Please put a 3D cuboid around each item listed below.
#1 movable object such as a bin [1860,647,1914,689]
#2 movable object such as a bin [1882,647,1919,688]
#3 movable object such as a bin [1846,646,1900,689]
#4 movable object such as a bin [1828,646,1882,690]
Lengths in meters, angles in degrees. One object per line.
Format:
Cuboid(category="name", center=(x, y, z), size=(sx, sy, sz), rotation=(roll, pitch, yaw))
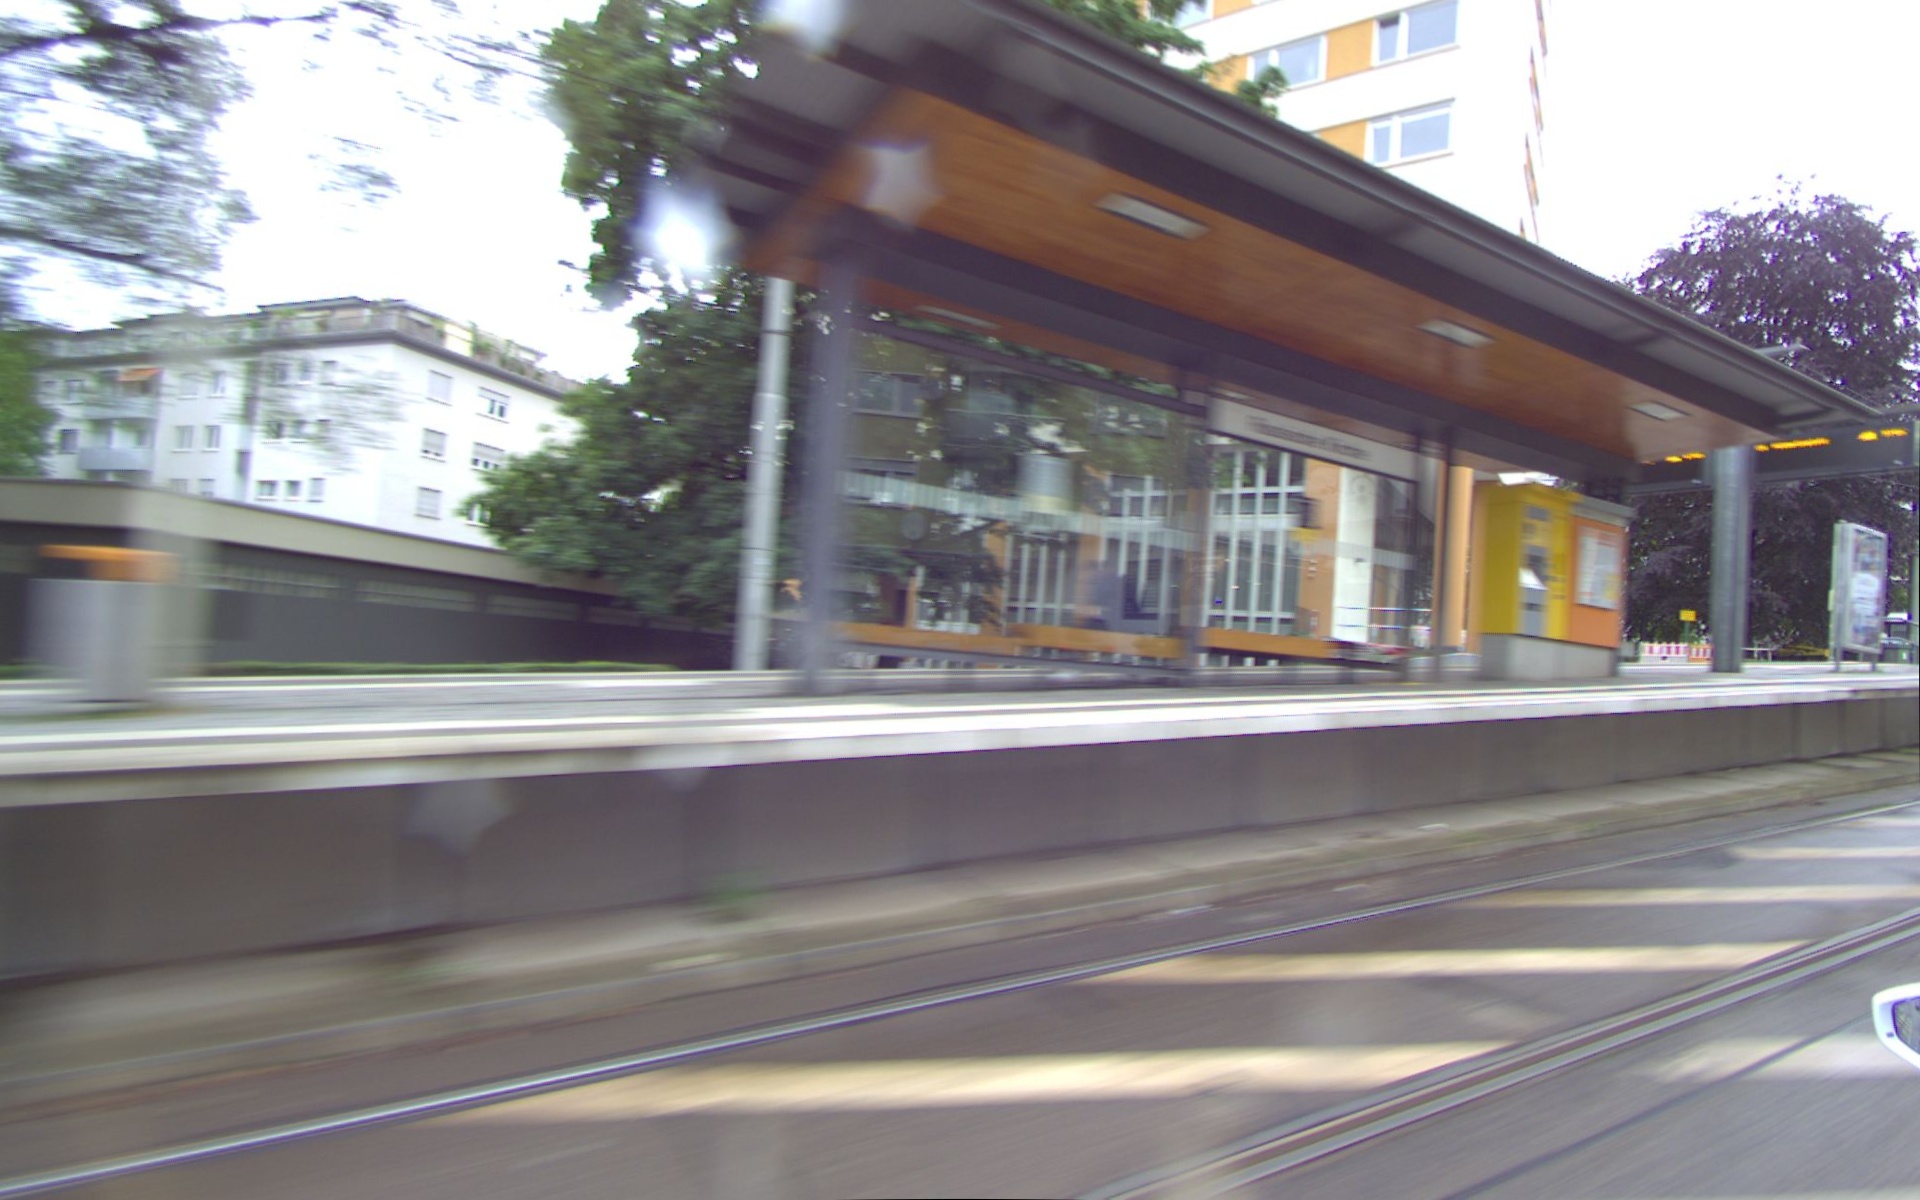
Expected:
Cuboid(category="movable object such as a bin", center=(34.033, 2.480, 36.869), size=(1.427, 1.453, 1.016), rotation=(3, 0, -29))
Cuboid(category="movable object such as a bin", center=(35.600, 2.536, 37.709), size=(1.410, 1.453, 1.016), rotation=(3, 0, -29))
Cuboid(category="movable object such as a bin", center=(32.753, 2.425, 36.049), size=(1.339, 1.453, 1.016), rotation=(3, 0, -29))
Cuboid(category="movable object such as a bin", center=(31.459, 2.370, 35.301), size=(1.288, 1.453, 1.016), rotation=(3, 0, -29))
